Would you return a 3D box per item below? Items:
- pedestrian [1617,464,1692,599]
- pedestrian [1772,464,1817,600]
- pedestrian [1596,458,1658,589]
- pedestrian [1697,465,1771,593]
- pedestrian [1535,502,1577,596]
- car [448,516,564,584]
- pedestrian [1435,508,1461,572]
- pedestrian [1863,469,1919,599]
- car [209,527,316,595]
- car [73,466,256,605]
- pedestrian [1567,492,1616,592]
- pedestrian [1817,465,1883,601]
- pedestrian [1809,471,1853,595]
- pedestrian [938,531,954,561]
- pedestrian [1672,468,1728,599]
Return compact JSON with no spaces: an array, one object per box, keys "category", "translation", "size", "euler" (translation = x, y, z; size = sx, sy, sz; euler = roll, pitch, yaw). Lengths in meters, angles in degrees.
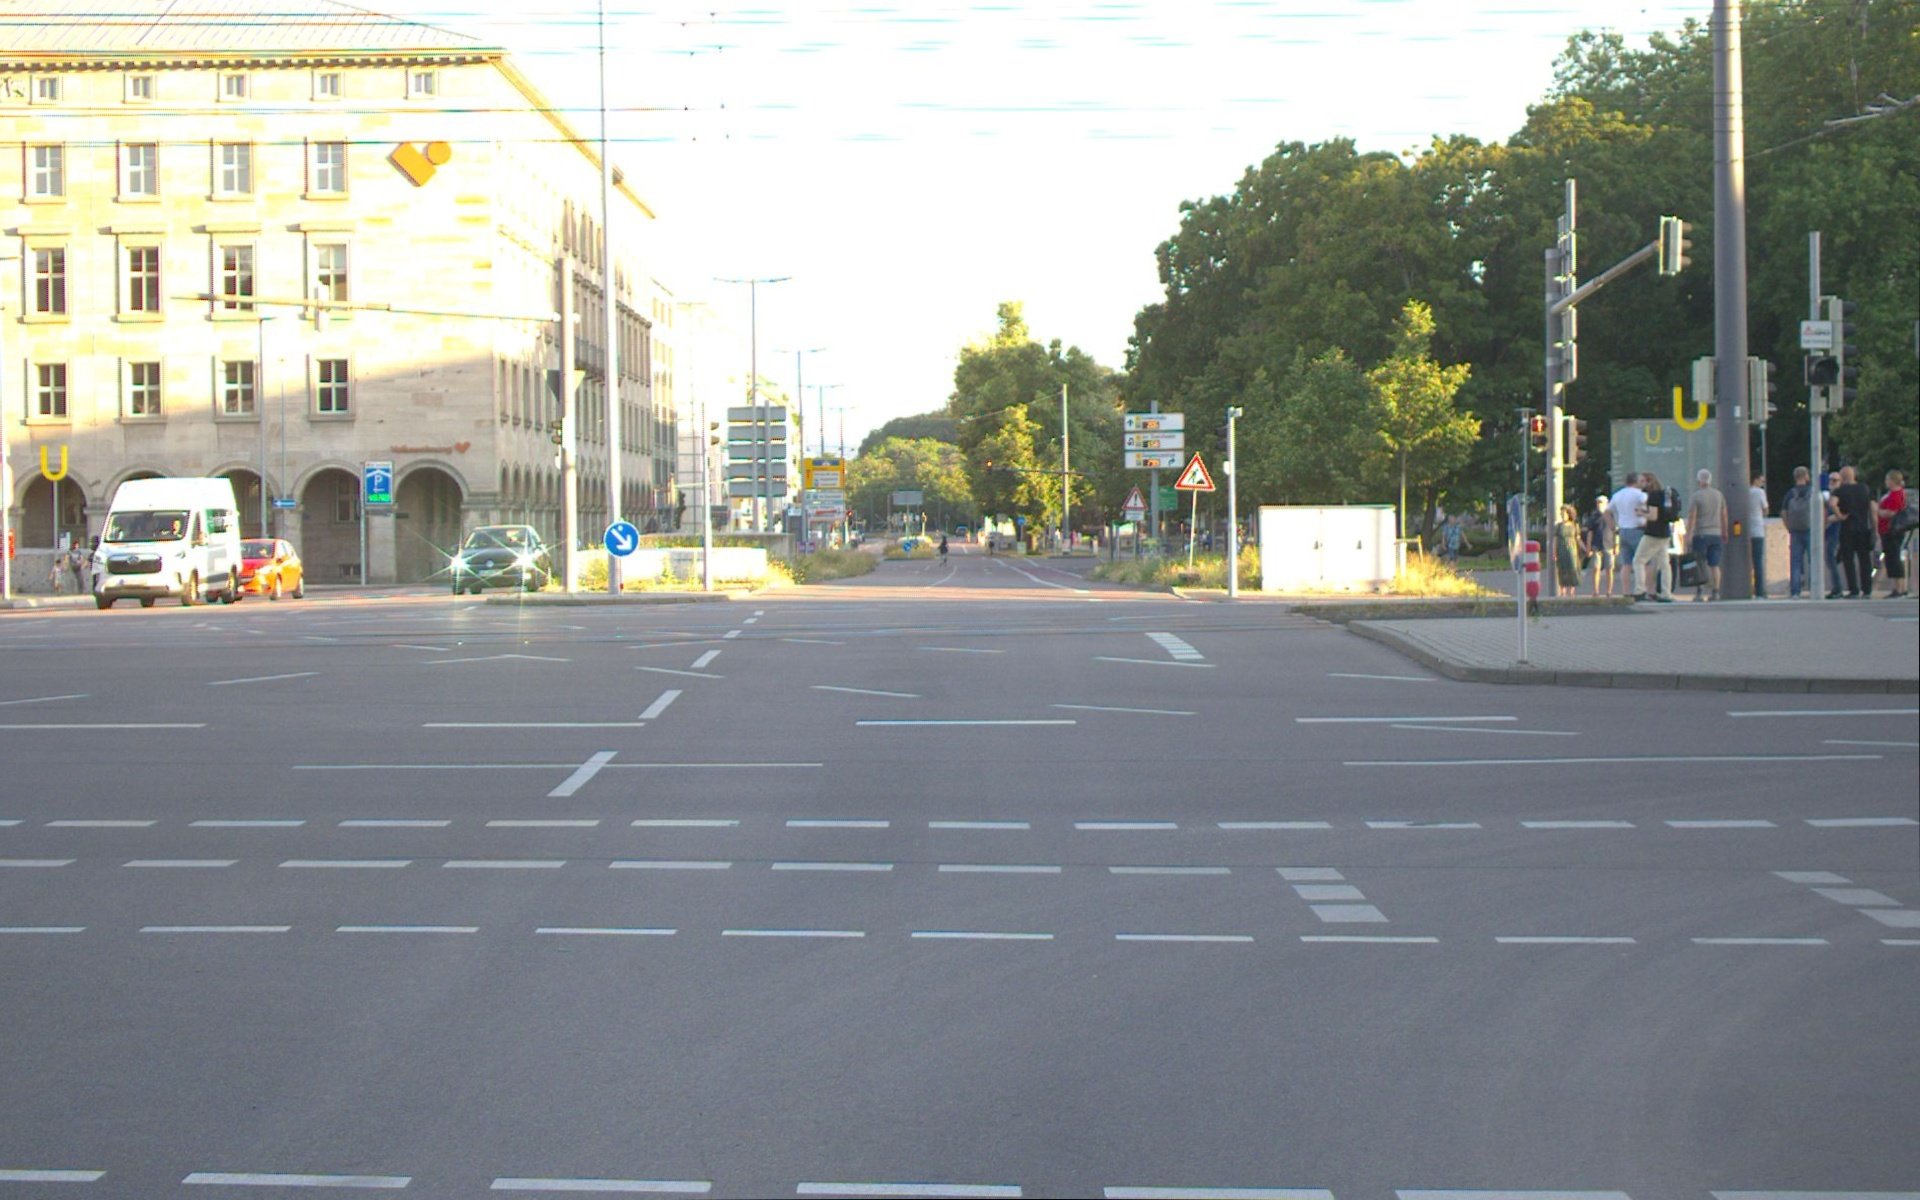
[{"category":"pedestrian","translation":[8.946,-0.881,44.276],"size":[0.912,1.719,0.713],"euler":[0,2,15]},{"category":"pedestrian","translation":[11.083,-0.905,45.670],"size":[0.572,1.785,0.638],"euler":[0,2,14]},{"category":"pedestrian","translation":[8.884,-1.023,45.762],"size":[0.711,1.719,0.668],"euler":[0,2,20]},{"category":"pedestrian","translation":[10.492,-0.970,46.630],"size":[0.912,1.719,0.713],"euler":[0,2,7]},{"category":"pedestrian","translation":[10.542,-0.903,60.795],"size":[0.560,1.649,0.901],"euler":[0,2,20]},{"category":"car","translation":[-9.557,-1.078,72.635],"size":[1.823,1.337,4.000],"euler":[-1,2,2]},{"category":"pedestrian","translation":[13.682,-1.683,96.360],"size":[0.642,1.754,0.525],"euler":[-1,2,1]},{"category":"pedestrian","translation":[12.549,-0.892,46.052],"size":[0.845,1.728,0.705],"euler":[0,2,12]},{"category":"car","translation":[-16.438,-0.939,81.189],"size":[1.738,1.482,4.001],"euler":[-1,2,-1]},{"category":"car","translation":[-16.694,-1.387,72.481],"size":[2.279,2.766,6.084],"euler":[-1,2,1]},{"category":"pedestrian","translation":[11.116,-1.027,60.510],"size":[0.680,1.751,0.901],"euler":[0,2,20]},{"category":"pedestrian","translation":[11.817,-0.896,45.640],"size":[0.805,1.785,0.800],"euler":[0,2,12]},{"category":"pedestrian","translation":[11.941,-0.922,47.131],"size":[0.572,1.673,0.638],"euler":[0,2,14]},{"category":"pedestrian","translation":[-0.797,-3.073,194.761],"size":[0.906,1.665,1.307],"euler":[-1,2,-1]},{"category":"pedestrian","translation":[9.809,-0.881,45.567],"size":[0.711,1.719,0.668],"euler":[0,2,13]}]
